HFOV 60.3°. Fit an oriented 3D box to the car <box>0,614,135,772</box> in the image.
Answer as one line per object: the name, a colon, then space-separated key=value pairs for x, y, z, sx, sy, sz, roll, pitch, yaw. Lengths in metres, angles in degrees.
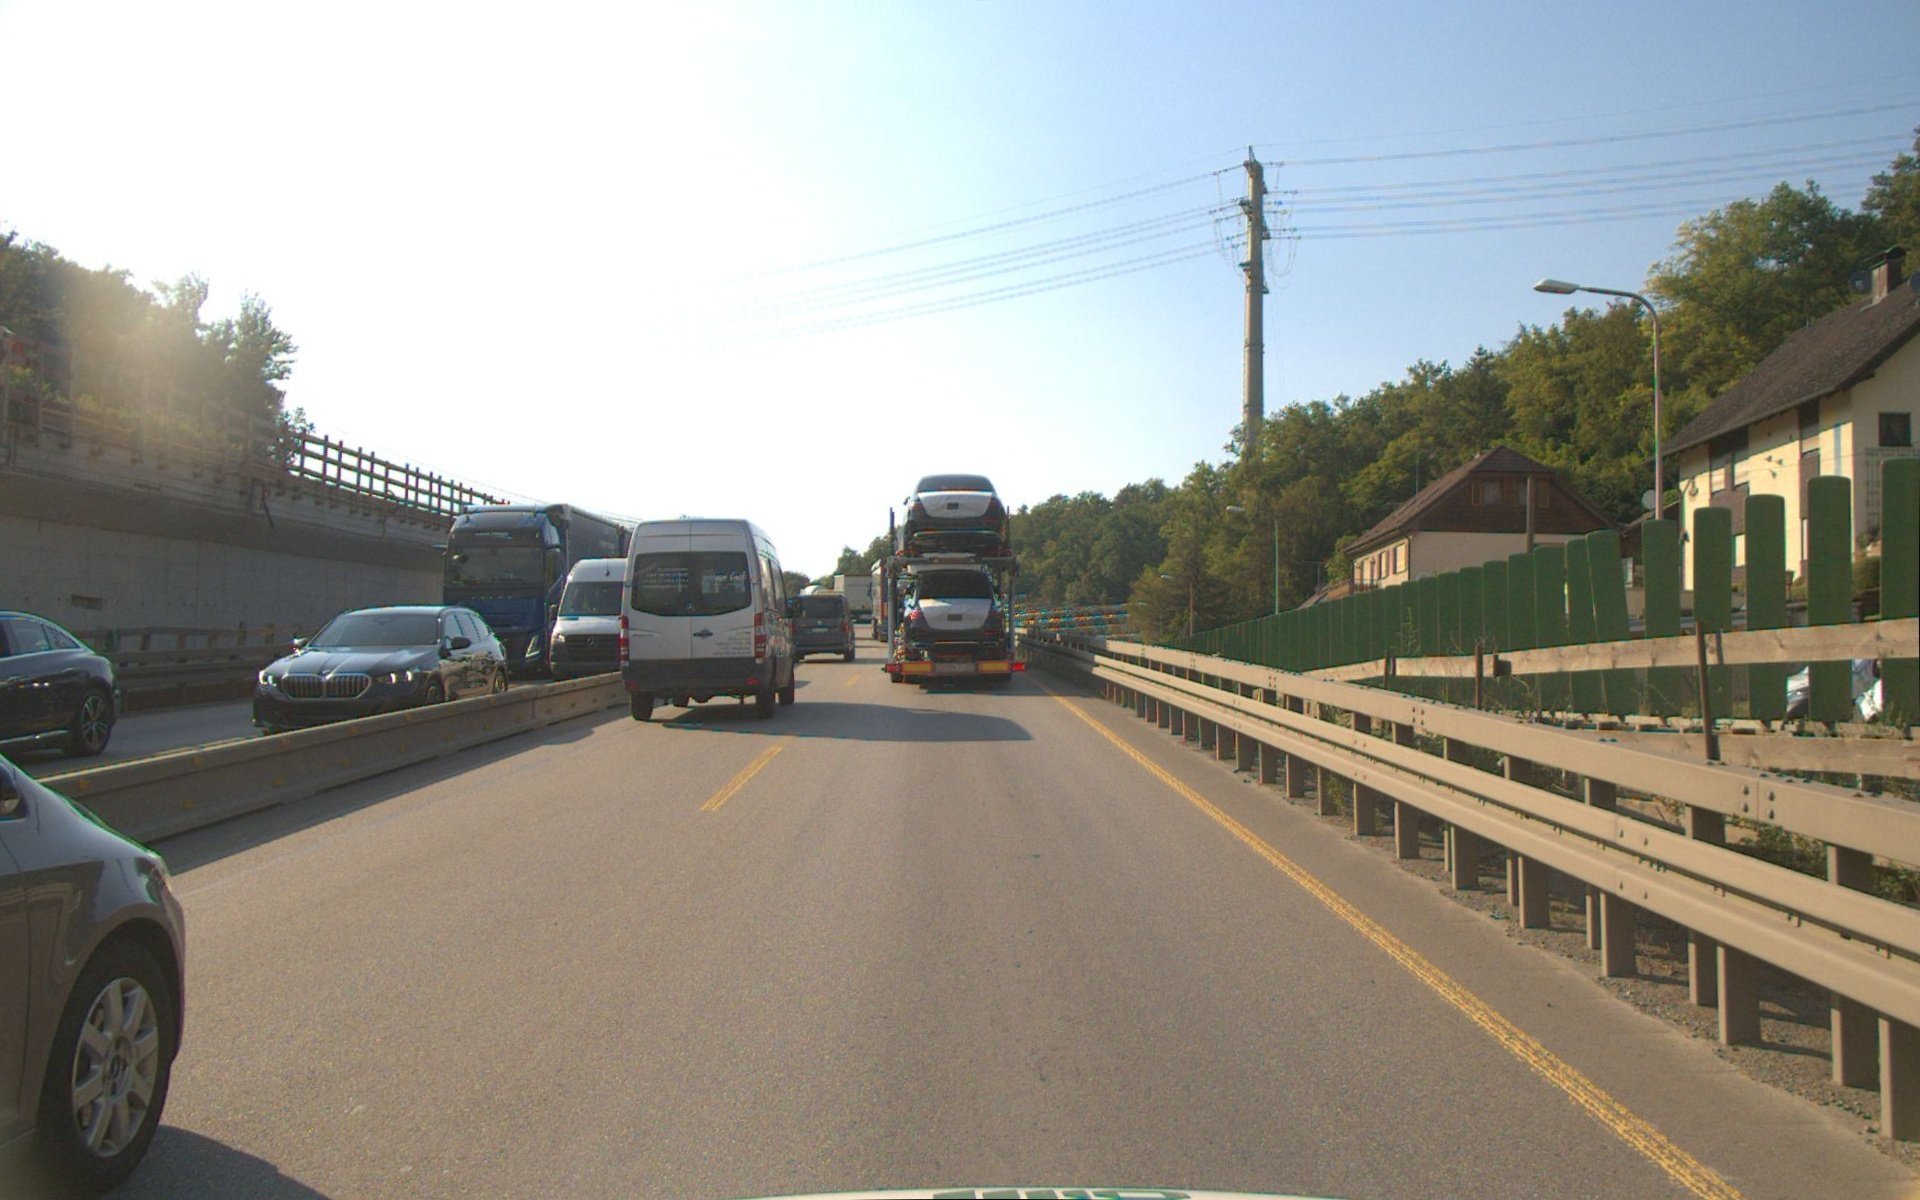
car: x=-9.815 y=0.879 z=15.376 sx=1.932 sy=1.446 sz=4.898 roll=-1 pitch=-1 yaw=-2

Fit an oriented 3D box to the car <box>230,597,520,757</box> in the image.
car: x=-6.847 y=0.876 z=19.973 sx=1.800 sy=1.621 sz=4.866 roll=2 pitch=-2 yaw=-1

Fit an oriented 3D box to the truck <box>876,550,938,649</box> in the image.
truck: x=-2.726 y=0.008 z=82.946 sx=2.849 sy=4.687 sz=7.281 roll=1 pitch=-1 yaw=-3

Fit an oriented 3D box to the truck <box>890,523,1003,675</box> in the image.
truck: x=-0.367 y=0.068 z=43.928 sx=2.628 sy=3.597 sz=7.191 roll=2 pitch=-1 yaw=-1

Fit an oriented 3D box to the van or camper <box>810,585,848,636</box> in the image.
van or camper: x=-7.218 y=0.630 z=91.555 sx=1.929 sy=2.637 sz=5.037 roll=2 pitch=-2 yaw=-3

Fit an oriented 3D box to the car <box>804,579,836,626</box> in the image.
car: x=-15.861 y=0.312 z=187.443 sx=3.377 sy=5.123 sz=9.643 roll=2 pitch=-1 yaw=-4

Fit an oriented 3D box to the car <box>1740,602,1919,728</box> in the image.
car: x=14.528 y=0.939 z=25.482 sx=4.047 sy=1.767 sz=1.851 roll=-3 pitch=-3 yaw=-1

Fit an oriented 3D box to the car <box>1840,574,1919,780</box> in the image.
car: x=9.779 y=0.697 z=14.443 sx=1.770 sy=1.903 sz=4.438 roll=1 pitch=-2 yaw=-1

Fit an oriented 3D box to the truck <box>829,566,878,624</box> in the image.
truck: x=-9.326 y=-0.351 z=144.222 sx=3.985 sy=4.761 sz=10.581 roll=1 pitch=-1 yaw=-4

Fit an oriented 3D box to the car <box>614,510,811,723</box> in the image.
car: x=-3.424 y=0.238 z=23.958 sx=1.953 sy=2.694 sz=5.530 roll=1 pitch=-1 yaw=0

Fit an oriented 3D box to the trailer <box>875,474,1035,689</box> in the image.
trailer: x=-0.186 y=-0.136 z=36.171 sx=2.628 sy=3.597 sz=15.283 roll=2 pitch=-1 yaw=-1

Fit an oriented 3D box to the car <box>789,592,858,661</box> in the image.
car: x=-4.110 y=0.848 z=50.354 sx=1.772 sy=1.937 sz=3.998 roll=2 pitch=-2 yaw=-1

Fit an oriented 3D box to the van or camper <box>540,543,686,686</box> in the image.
van or camper: x=-7.279 y=0.303 z=35.302 sx=1.953 sy=2.754 sz=5.955 roll=-1 pitch=0 yaw=-2

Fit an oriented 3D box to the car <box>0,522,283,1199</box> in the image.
car: x=-2.857 y=0.647 z=2.822 sx=1.646 sy=1.616 sz=4.271 roll=0 pitch=0 yaw=0

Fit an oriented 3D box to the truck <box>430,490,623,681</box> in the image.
truck: x=-10.594 y=-0.274 z=41.467 sx=2.571 sy=4.185 sz=9.623 roll=-1 pitch=-1 yaw=-2

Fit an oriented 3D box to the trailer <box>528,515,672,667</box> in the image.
trailer: x=-10.917 y=-0.245 z=51.118 sx=2.553 sy=4.184 sz=9.623 roll=-2 pitch=0 yaw=-2
